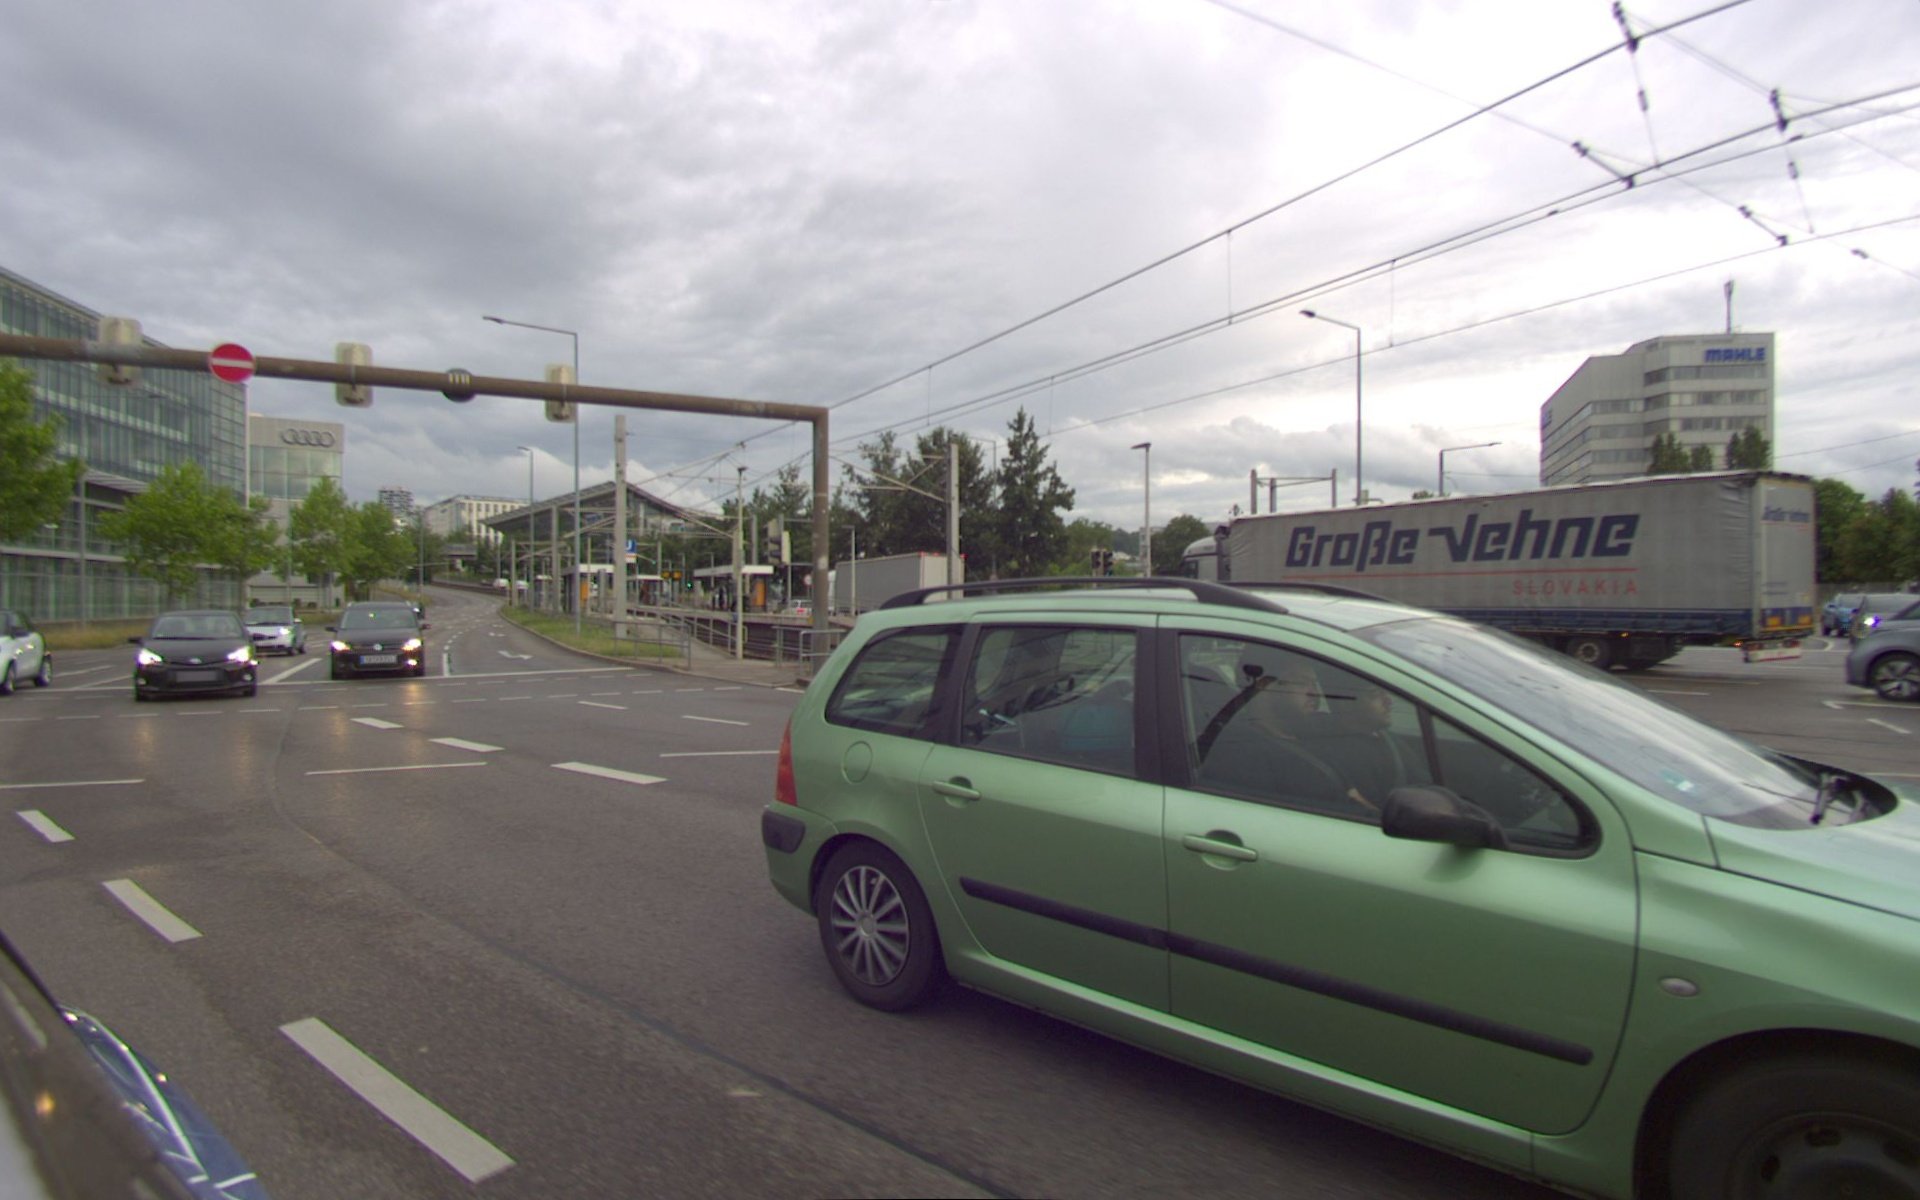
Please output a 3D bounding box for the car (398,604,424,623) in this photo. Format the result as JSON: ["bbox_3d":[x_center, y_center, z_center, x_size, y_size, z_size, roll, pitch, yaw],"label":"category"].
[{"bbox_3d":[-49.544,1.219,91.371,1.673,1.534,3.838,-1,1,-22],"label":"car"}]

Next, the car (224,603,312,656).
[{"bbox_3d":[-21.563,0.877,31.665,1.711,1.489,4.013,-2,1,-27],"label":"car"}]

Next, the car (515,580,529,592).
[{"bbox_3d":[-83.342,-2.636,192.468,1.966,2.231,5.161,-3,1,-26],"label":"car"}]

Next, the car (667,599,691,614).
[{"bbox_3d":[-30.337,0.675,109.203,1.762,1.514,4.013,-3,2,-26],"label":"car"}]

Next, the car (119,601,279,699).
[{"bbox_3d":[-13.452,0.827,18.117,1.669,1.534,3.917,-1,-1,-28],"label":"car"}]

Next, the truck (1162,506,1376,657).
[{"bbox_3d":[9.289,-0.510,31.166,2.629,4.161,6.205,0,0,-30],"label":"truck"}]

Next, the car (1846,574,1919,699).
[{"bbox_3d":[15.937,0.516,14.204,1.967,1.851,4.921,-1,1,-34],"label":"car"}]

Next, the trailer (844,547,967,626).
[{"bbox_3d":[-3.422,-0.599,58.296,2.755,4.138,11.479,0,-1,-26],"label":"trailer"}]

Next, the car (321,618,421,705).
[{"bbox_3d":[-12.978,1.270,22.437,1.703,1.604,4.206,-3,1,-29],"label":"car"}]

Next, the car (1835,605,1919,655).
[{"bbox_3d":[28.207,0.859,30.470,1.991,1.412,3.961,0,0,28],"label":"car"}]

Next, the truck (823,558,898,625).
[{"bbox_3d":[-6.382,-0.474,64.283,2.792,4.026,6.006,0,-1,-26],"label":"truck"}]

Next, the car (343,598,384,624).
[{"bbox_3d":[-42.394,0.752,71.992,1.799,1.723,4.167,-2,1,-22],"label":"car"}]

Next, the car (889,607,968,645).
[{"bbox_3d":[-1.553,1.173,47.731,1.876,1.566,4.581,-3,1,-27],"label":"car"}]

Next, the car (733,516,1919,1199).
[{"bbox_3d":[1.318,0.576,3.106,4.402,1.479,1.677,-1,2,42],"label":"car"}]

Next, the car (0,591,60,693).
[{"bbox_3d":[-18.107,0.735,18.455,1.775,1.736,4.012,0,-1,-30],"label":"car"}]

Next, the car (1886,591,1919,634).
[{"bbox_3d":[37.452,0.461,38.313,1.985,1.621,4.424,0,0,20],"label":"car"}]

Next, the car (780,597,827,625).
[{"bbox_3d":[-10.125,0.692,65.240,1.860,1.664,4.109,-3,1,-25],"label":"car"}]

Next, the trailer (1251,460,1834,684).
[{"bbox_3d":[12.954,-0.512,24.918,2.613,4.156,12.783,0,0,-31],"label":"trailer"}]
